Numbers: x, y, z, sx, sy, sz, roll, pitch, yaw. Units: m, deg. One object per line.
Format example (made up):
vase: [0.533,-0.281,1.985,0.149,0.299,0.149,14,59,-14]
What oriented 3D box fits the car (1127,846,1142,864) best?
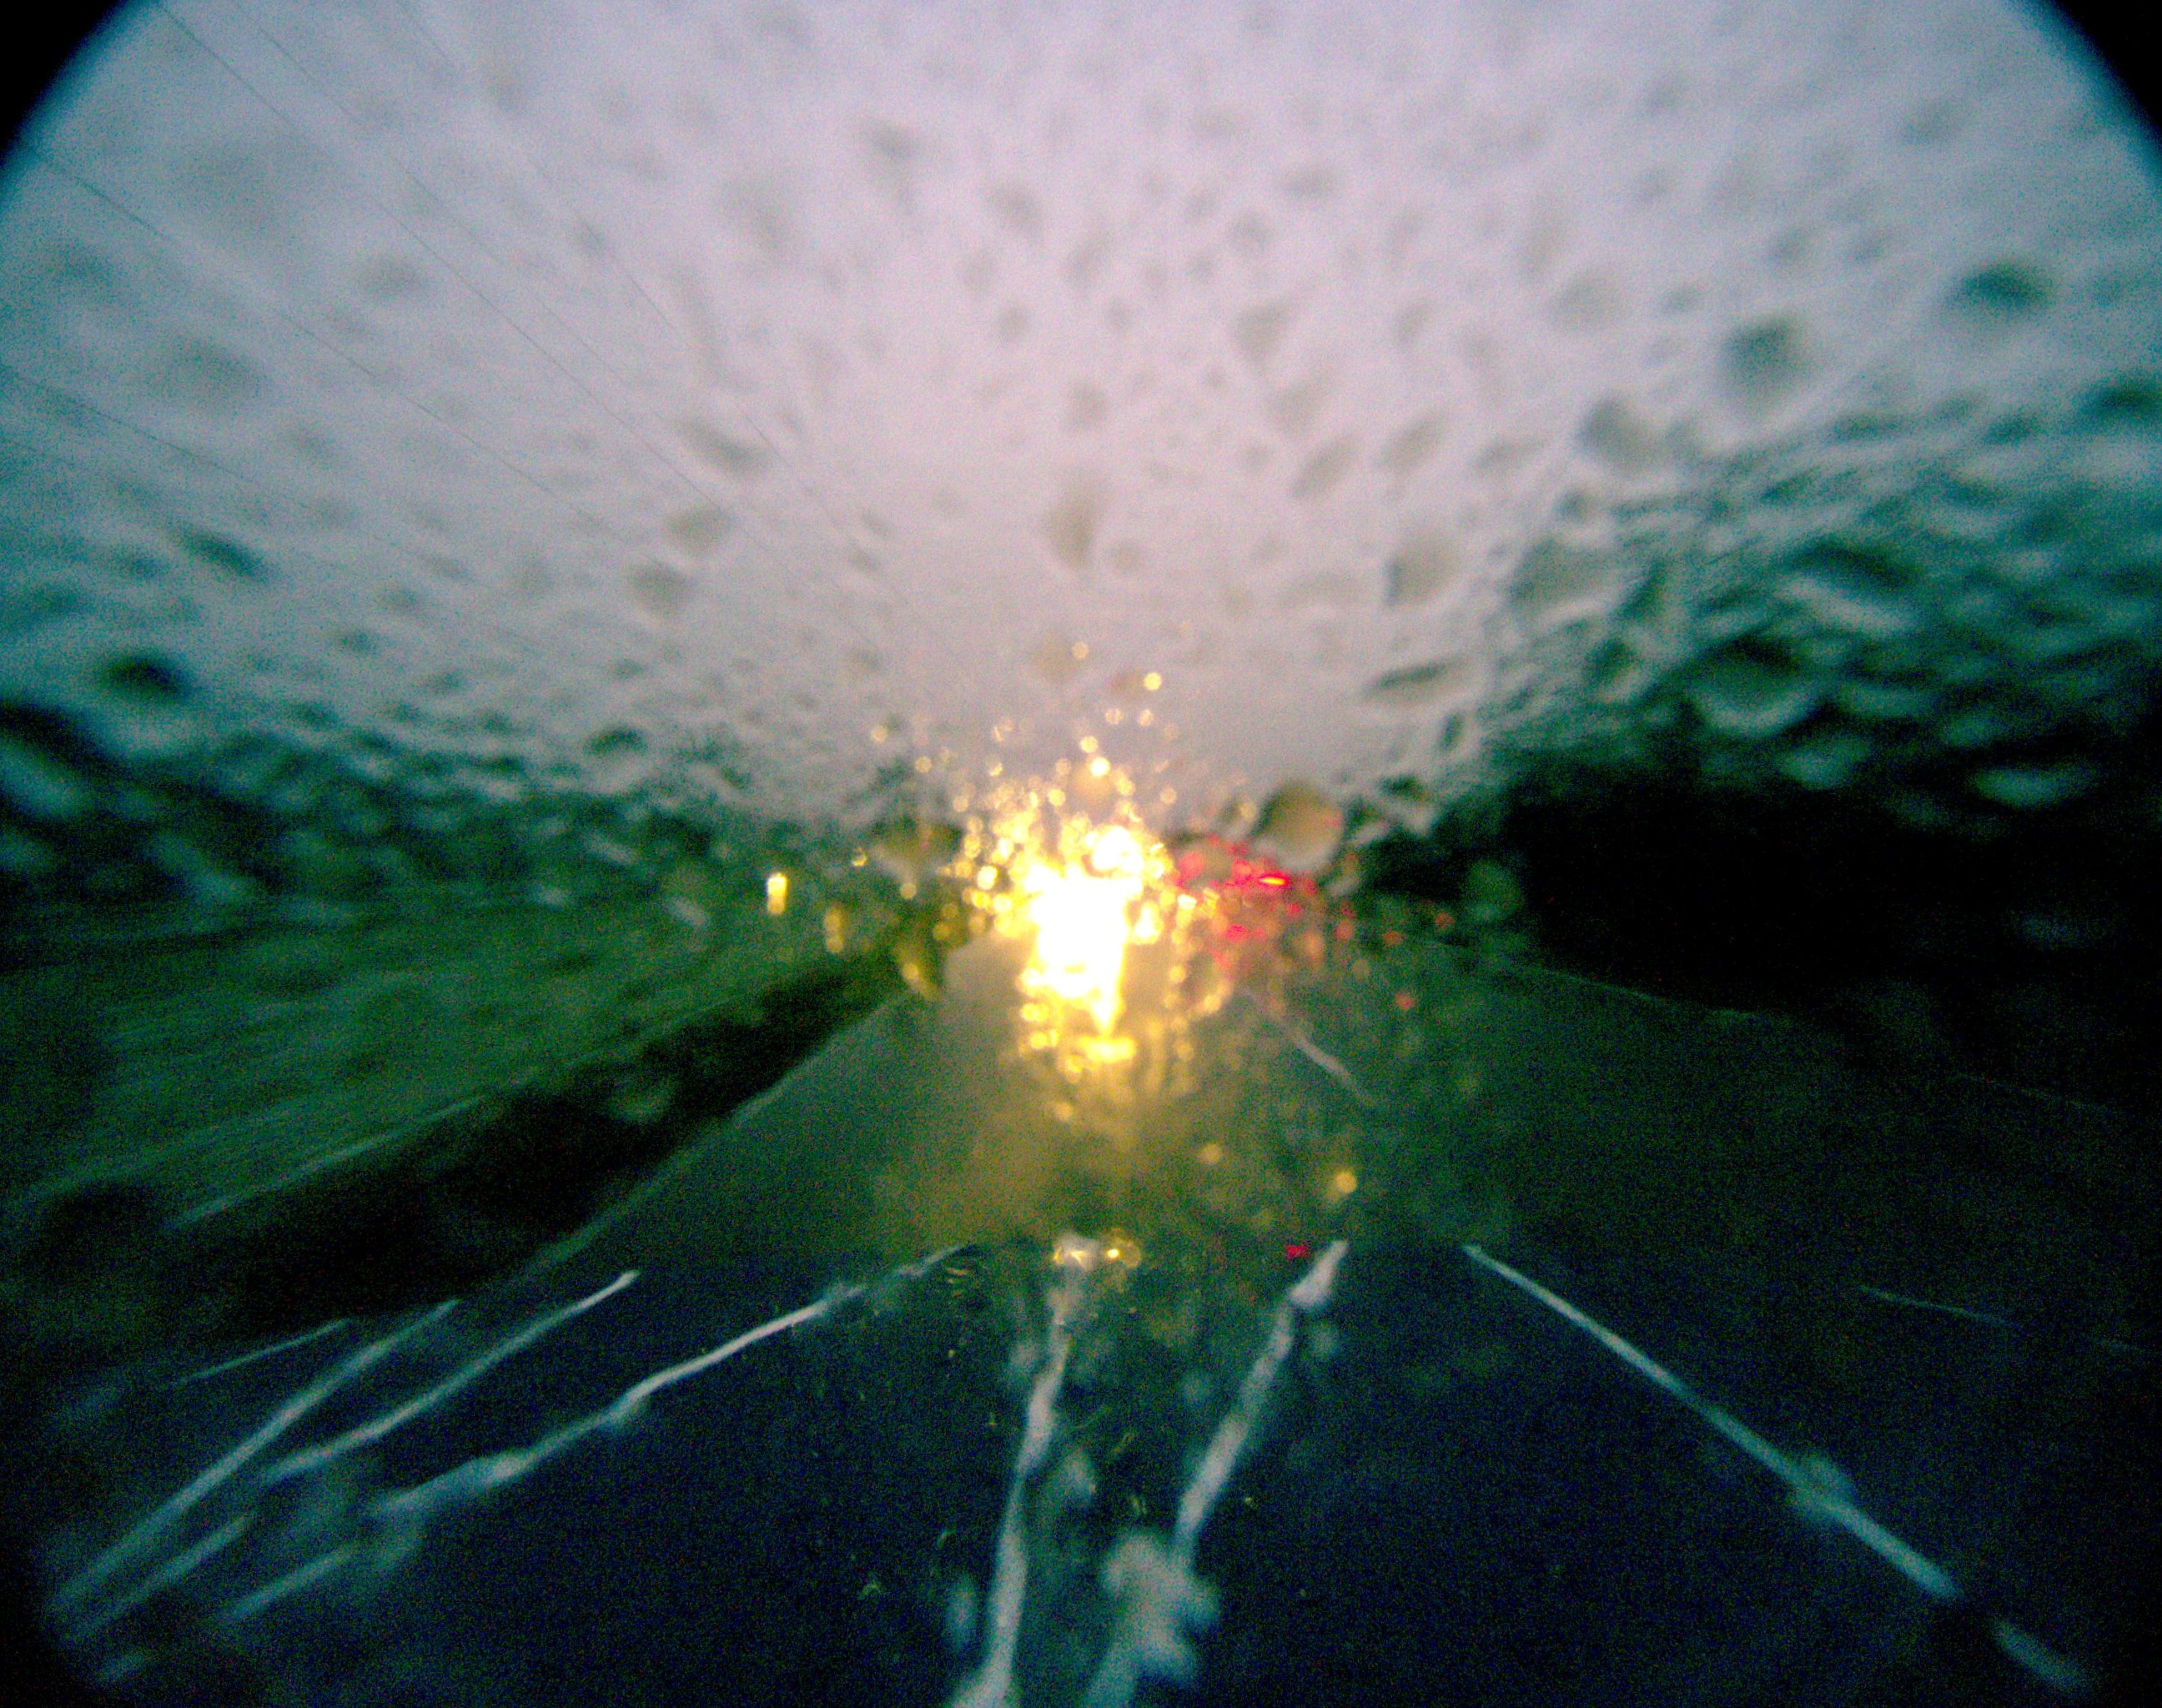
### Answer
car: [8.636,0.161,122.975,1.958,2.659,6.271,-2,0,2]

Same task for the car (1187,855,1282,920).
car: [4.000,0.817,20.486,1.692,1.498,4.413,-2,0,1]

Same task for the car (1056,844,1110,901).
car: [0.094,0.646,29.128,1.857,2.002,4.000,-2,1,1]

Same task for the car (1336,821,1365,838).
car: [29.067,-2.631,82.105,1.726,1.702,4.110,-2,1,1]
